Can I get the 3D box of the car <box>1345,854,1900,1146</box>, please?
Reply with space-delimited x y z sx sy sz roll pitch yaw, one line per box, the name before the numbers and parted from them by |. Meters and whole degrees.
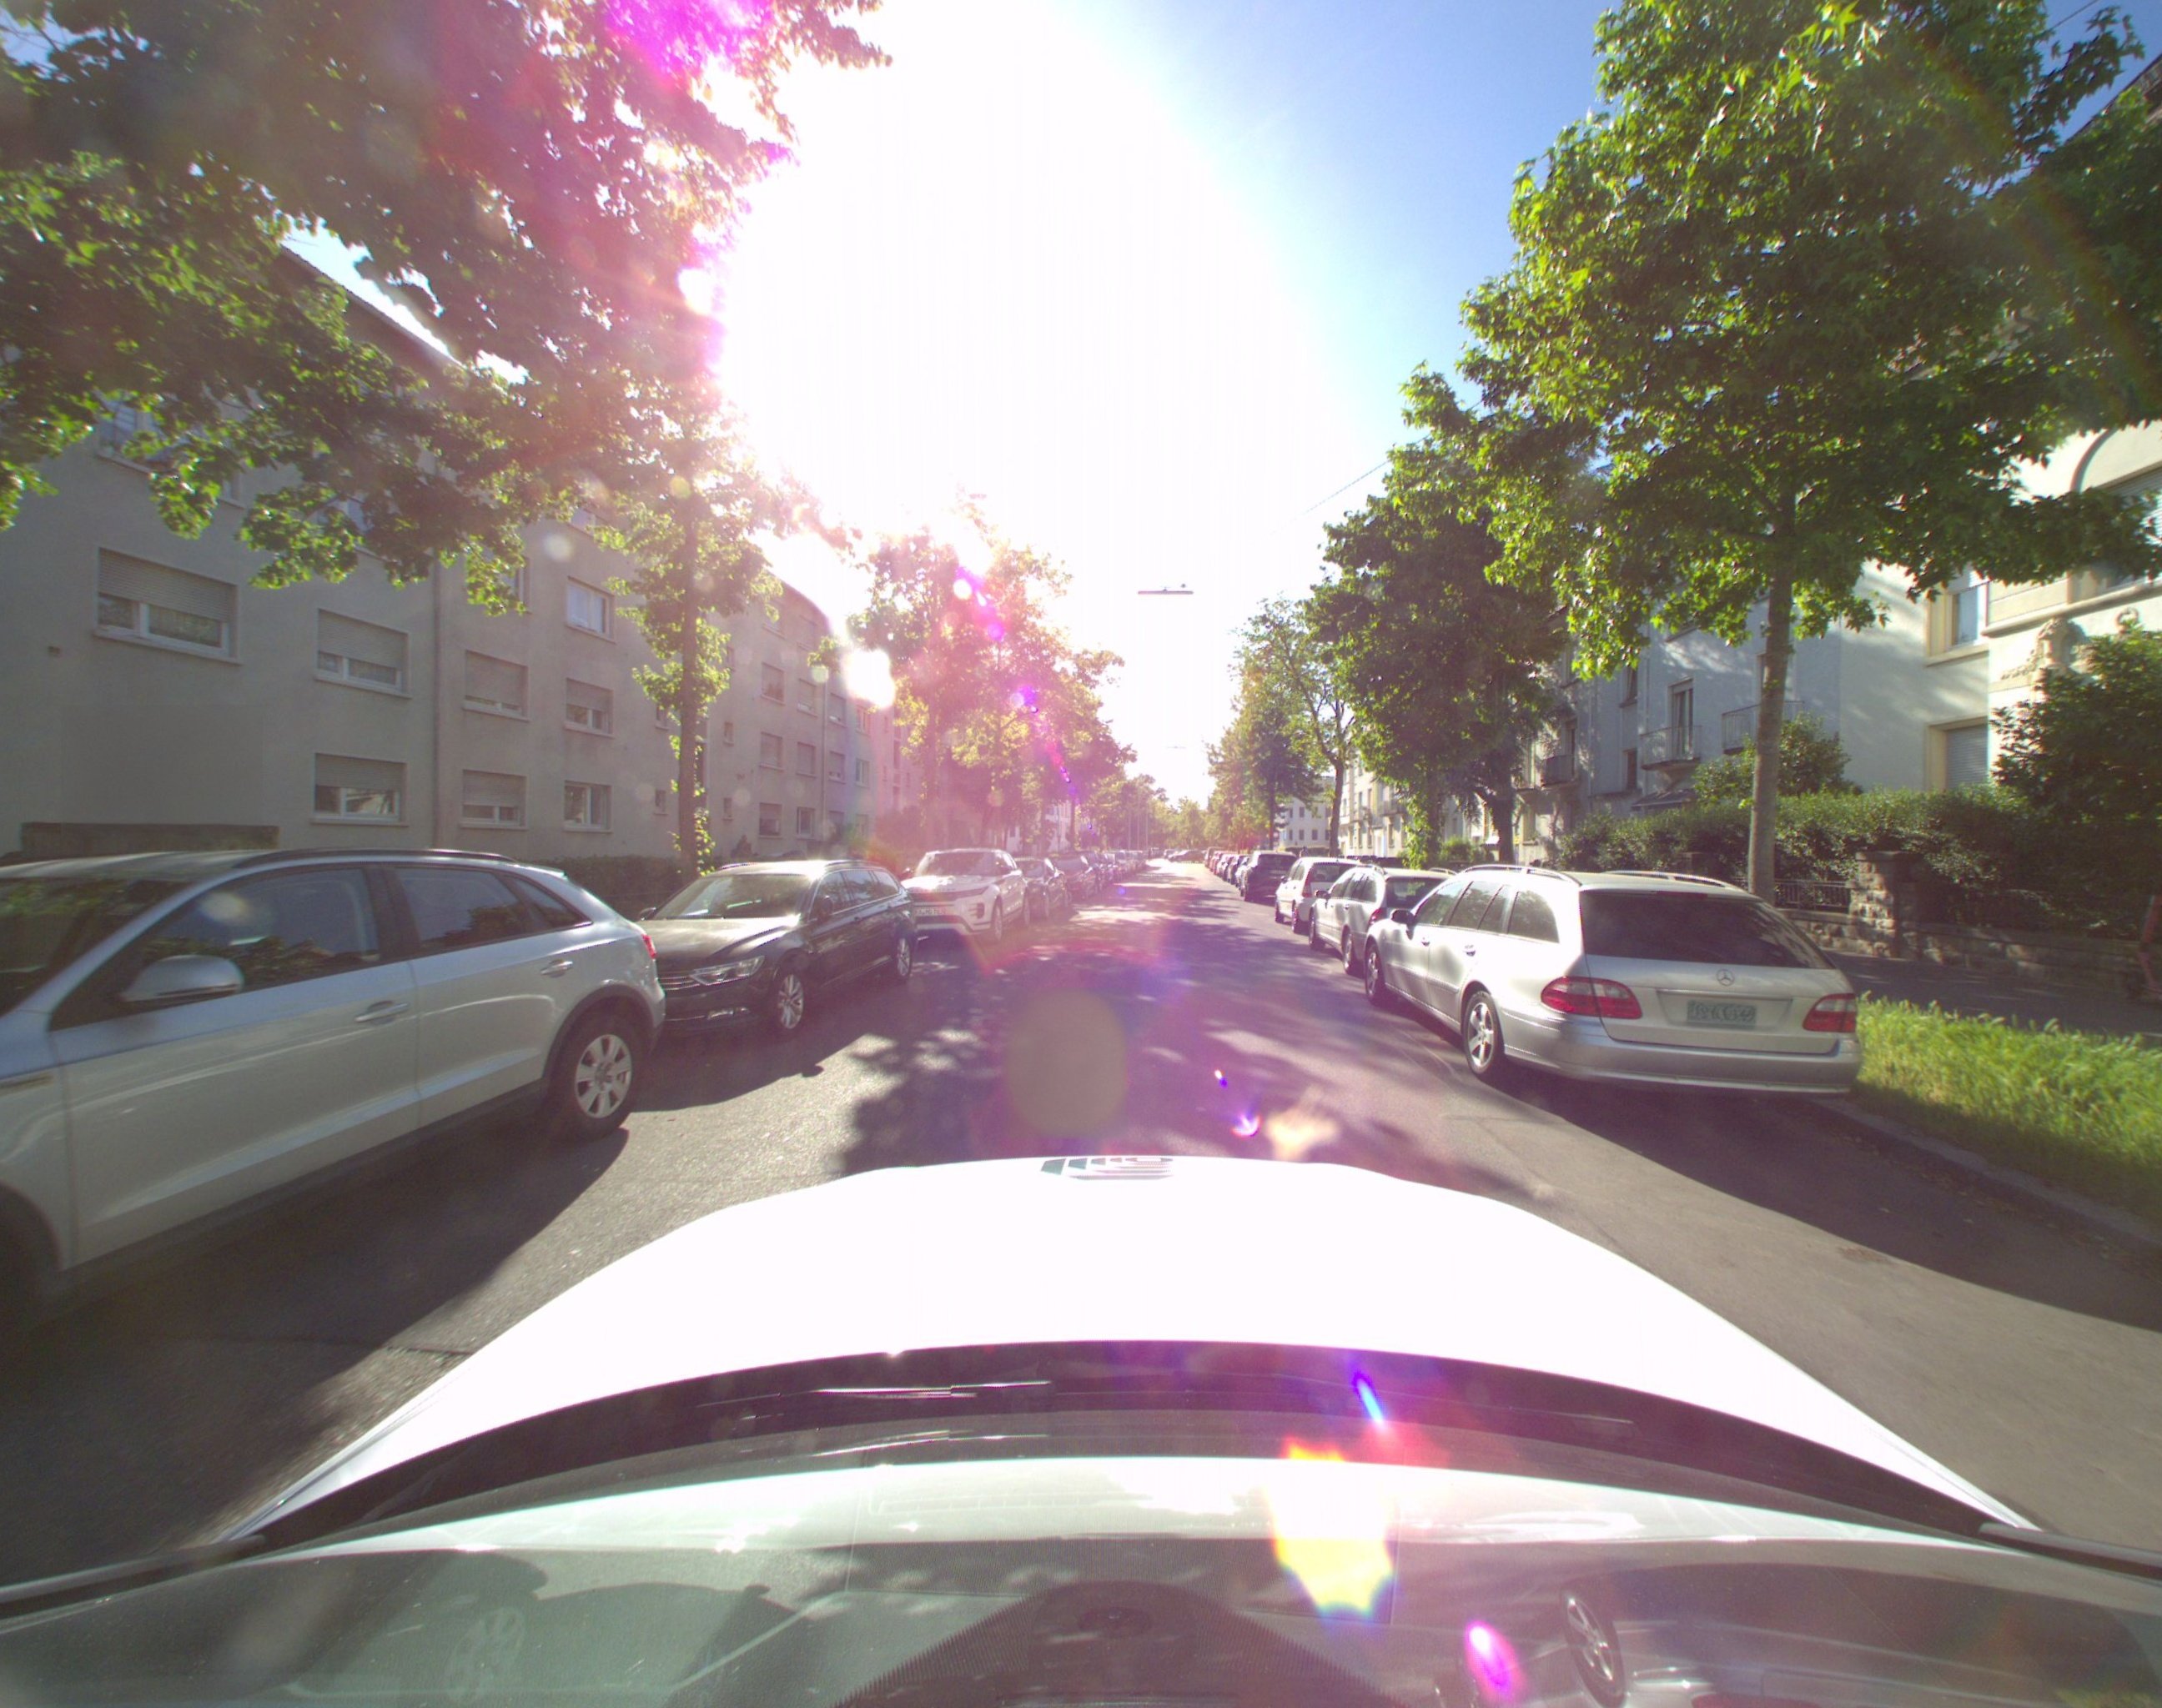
car | 3.739 0.790 6.918 1.812 1.469 4.917 2 1 6

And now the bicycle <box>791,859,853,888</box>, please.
bicycle | -8.887 0.662 27.967 1.937 0.917 0.515 1 0 7

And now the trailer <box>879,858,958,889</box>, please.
trailer | -5.854 0.680 29.758 1.778 1.034 3.290 1 0 9

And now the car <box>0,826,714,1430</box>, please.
car | -3.669 0.675 3.175 2.055 1.524 4.727 0 0 4

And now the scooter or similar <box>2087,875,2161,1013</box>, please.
scooter or similar | 9.817 0.806 7.341 0.398 1.185 1.212 0 1 22

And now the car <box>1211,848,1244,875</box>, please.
car | 10.150 0.504 56.705 1.897 1.699 4.322 3 1 7

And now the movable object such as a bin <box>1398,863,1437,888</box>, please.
movable object such as a bin | 12.906 0.811 31.215 1.210 0.904 1.674 0 0 27

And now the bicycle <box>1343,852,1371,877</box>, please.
bicycle | 14.729 0.537 43.480 0.835 1.257 2.233 1 0 3

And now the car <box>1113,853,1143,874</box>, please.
car | 3.605 0.668 61.587 1.983 1.453 4.270 -2 0 6

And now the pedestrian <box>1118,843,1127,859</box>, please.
pedestrian | 5.056 -0.369 99.788 0.852 2.013 0.985 0 0 15

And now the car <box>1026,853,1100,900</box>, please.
car | -0.504 0.700 26.891 1.770 1.379 4.271 -1 0 7

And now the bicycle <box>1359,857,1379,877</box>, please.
bicycle | 14.514 0.648 41.083 0.592 0.957 1.907 0 0 7

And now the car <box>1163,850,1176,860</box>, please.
car | 14.019 0.189 128.723 1.776 1.609 4.003 0 0 3

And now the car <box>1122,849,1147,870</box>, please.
car | 4.501 0.428 67.607 1.830 1.595 4.270 -1 0 6

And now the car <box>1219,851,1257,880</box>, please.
car | 8.589 0.602 44.838 1.779 1.453 3.789 2 0 7

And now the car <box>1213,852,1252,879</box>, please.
car | 9.322 0.679 50.396 1.888 1.474 4.707 3 0 6

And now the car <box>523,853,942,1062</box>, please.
car | -2.965 0.763 8.324 1.719 1.447 4.830 -2 0 6

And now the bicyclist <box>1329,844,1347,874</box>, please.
bicyclist | 13.740 0.253 43.551 0.673 1.553 1.023 0 0 4

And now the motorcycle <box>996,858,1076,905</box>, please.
motorcycle | -1.302 0.788 23.800 2.280 1.270 0.807 -1 0 -4

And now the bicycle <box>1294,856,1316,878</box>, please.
bicycle | 12.183 0.716 44.375 0.680 1.153 2.406 0 0 4

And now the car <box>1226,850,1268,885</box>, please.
car | 8.140 0.621 40.156 1.683 1.540 4.450 2 1 7

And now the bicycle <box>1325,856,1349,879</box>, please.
bicycle | 13.746 0.704 43.746 0.680 1.153 2.406 0 0 4

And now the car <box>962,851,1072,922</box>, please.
car | -1.425 0.717 20.156 1.719 1.477 4.629 -3 0 7

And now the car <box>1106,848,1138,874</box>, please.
car | 2.690 0.437 52.906 1.701 1.544 3.939 -2 0 8

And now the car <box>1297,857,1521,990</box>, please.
car | 4.439 0.814 11.870 1.702 1.410 4.870 2 1 6

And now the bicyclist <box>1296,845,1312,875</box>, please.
bicyclist | 12.191 0.337 44.451 0.674 1.609 0.923 0 0 4

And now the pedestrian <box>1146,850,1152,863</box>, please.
pedestrian | 9.898 0.303 117.993 0.713 1.900 0.836 0 0 -3

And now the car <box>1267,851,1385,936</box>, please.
car | 5.142 0.749 17.565 1.646 1.532 3.976 3 1 6

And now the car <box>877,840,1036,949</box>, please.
car | -2.060 0.625 14.841 1.719 1.618 4.374 -3 0 6

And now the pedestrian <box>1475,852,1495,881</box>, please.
pedestrian | 16.460 0.503 33.186 0.507 1.142 0.757 1 0 5

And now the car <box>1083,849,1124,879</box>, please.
car | 1.186 0.483 41.846 1.753 1.443 3.916 -1 0 6

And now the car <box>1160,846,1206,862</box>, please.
car | 11.916 0.009 95.367 5.098 1.822 1.982 1 0 -27

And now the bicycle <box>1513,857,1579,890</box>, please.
bicycle | 15.973 0.658 27.989 1.885 1.100 0.585 0 0 10

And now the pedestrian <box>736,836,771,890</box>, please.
pedestrian | -11.753 0.321 29.253 0.773 1.913 0.884 0 0 34

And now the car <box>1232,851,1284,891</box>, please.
car | 7.432 0.673 34.547 1.741 1.454 4.471 3 1 7

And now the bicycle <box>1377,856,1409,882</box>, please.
bicycle | 13.987 0.666 36.557 0.800 1.115 2.002 1 0 4

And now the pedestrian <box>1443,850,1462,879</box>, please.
pedestrian | 15.051 0.405 32.980 0.506 1.142 0.758 1 0 9

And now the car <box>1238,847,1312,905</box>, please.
car | 6.323 0.640 27.093 1.915 1.651 5.107 3 1 9

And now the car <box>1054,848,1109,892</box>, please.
car | 0.094 0.572 32.191 1.781 1.566 4.470 -2 0 4

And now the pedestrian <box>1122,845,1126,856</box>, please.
pedestrian | 7.879 -0.604 148.542 0.759 1.900 0.819 0 0 0

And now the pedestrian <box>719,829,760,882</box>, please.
pedestrian | -12.426 0.066 29.636 0.926 1.888 1.030 0 0 16

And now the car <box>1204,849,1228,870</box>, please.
car | 12.679 0.482 76.861 1.961 1.949 4.994 1 0 6

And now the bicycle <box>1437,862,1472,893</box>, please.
bicycle | 12.684 0.771 27.703 0.578 0.975 1.908 0 0 9

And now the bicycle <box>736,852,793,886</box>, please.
bicycle | -11.109 0.503 28.644 0.507 1.153 1.966 1 0 30

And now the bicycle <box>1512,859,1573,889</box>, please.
bicycle | 17.117 0.735 30.208 1.885 1.100 0.585 0 0 10

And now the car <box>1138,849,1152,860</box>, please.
car | 9.554 0.058 121.622 1.983 1.671 4.008 0 0 7

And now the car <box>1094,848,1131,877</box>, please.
car | 1.893 0.458 47.417 1.802 1.596 4.241 0 0 7

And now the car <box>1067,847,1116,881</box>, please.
car | 0.537 0.413 37.133 1.820 1.453 4.130 -1 0 7

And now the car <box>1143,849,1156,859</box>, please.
car | 11.480 0.005 136.820 1.983 1.585 4.008 0 0 7
